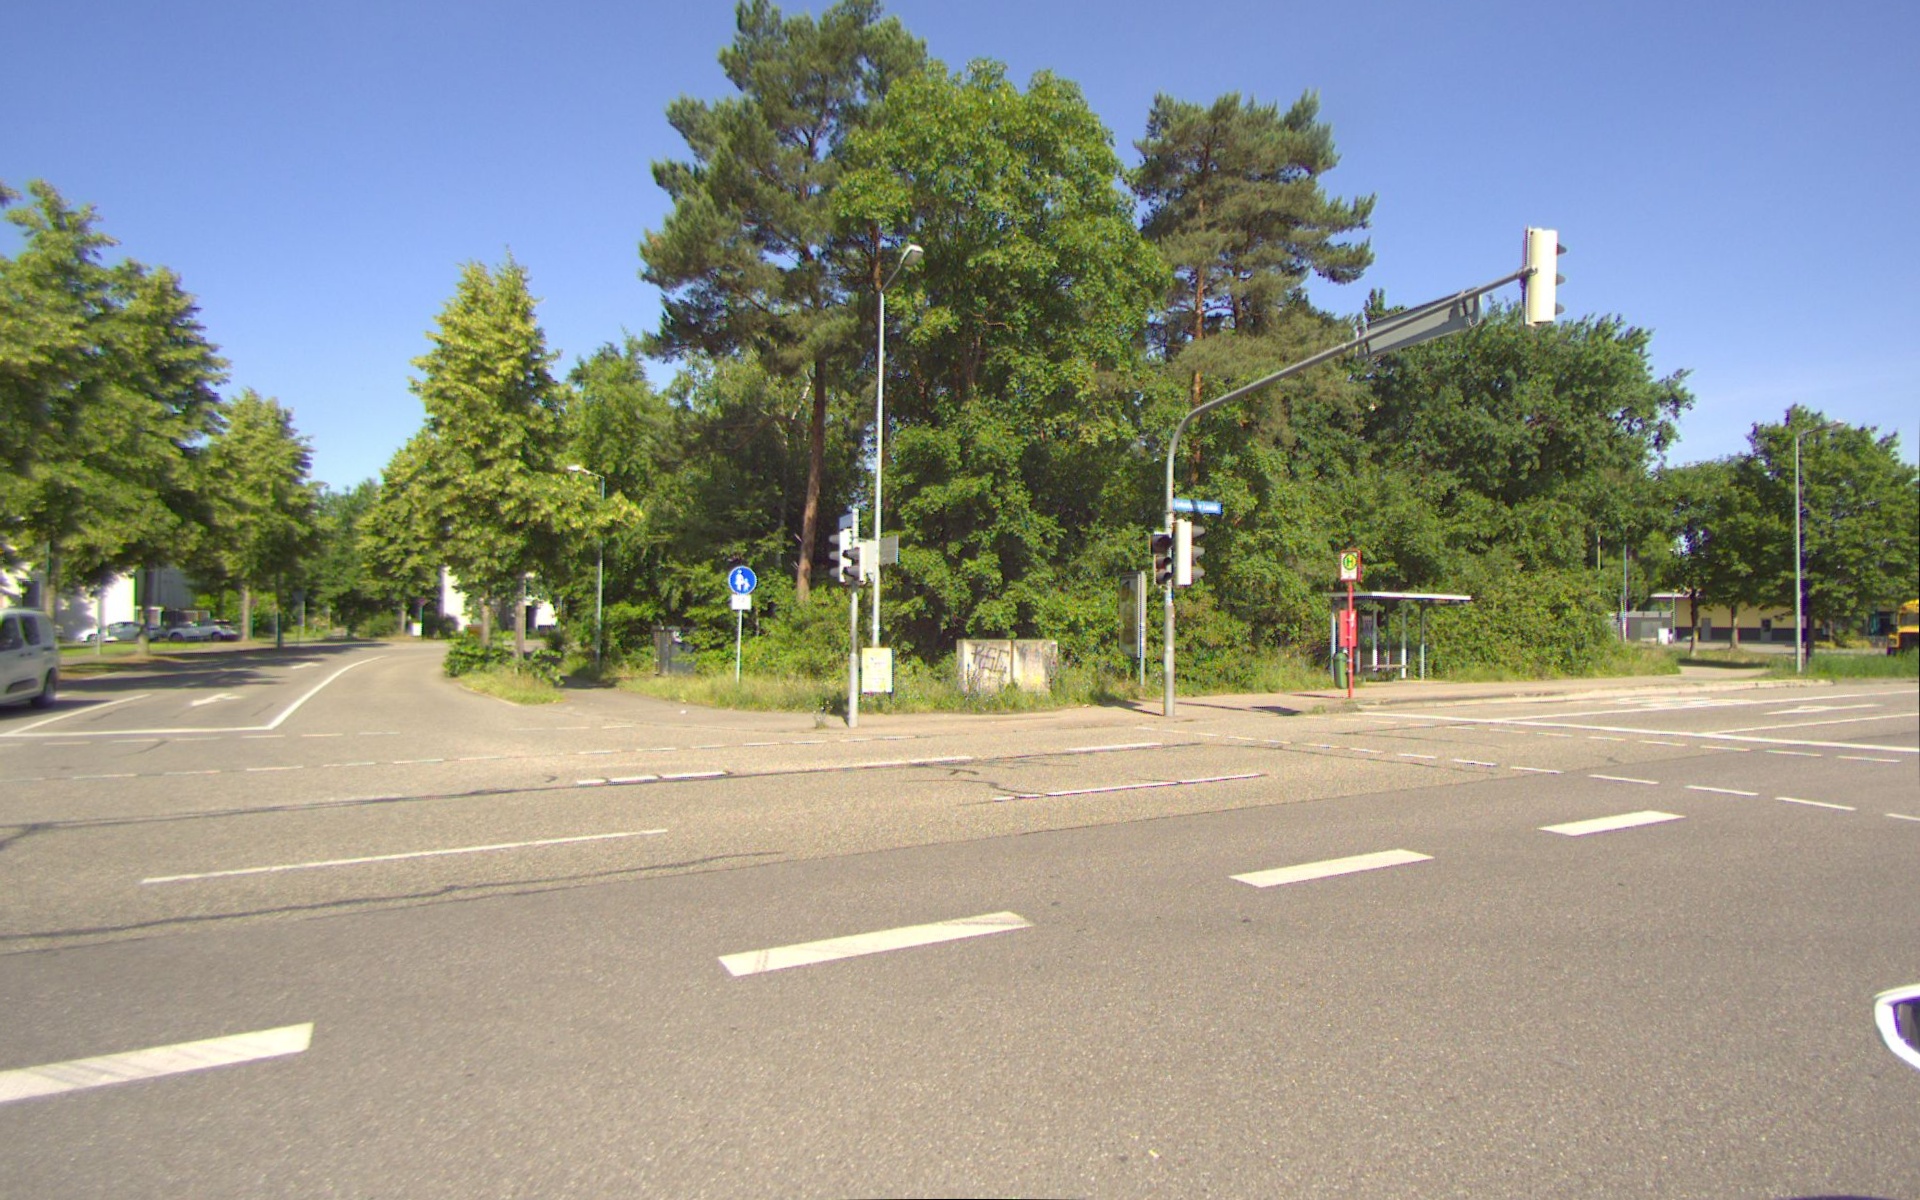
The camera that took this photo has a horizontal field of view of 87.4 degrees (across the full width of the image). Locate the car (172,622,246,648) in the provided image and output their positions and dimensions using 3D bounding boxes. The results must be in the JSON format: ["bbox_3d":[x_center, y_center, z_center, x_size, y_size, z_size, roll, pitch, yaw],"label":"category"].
[{"bbox_3d":[-50.349,2.333,67.398,3.637,1.584,1.598,2,0,-6],"label":"car"}]

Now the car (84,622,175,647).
[{"bbox_3d":[-54.878,2.264,66.457,4.209,1.506,1.769,2,0,-20],"label":"car"}]

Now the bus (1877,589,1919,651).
[{"bbox_3d":[46.235,0.981,46.892,8.893,2.715,2.566,2,0,-31],"label":"bus"}]

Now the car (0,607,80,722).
[{"bbox_3d":[-16.579,1.039,16.711,1.829,1.801,4.628,1,-3,-28],"label":"car"}]
